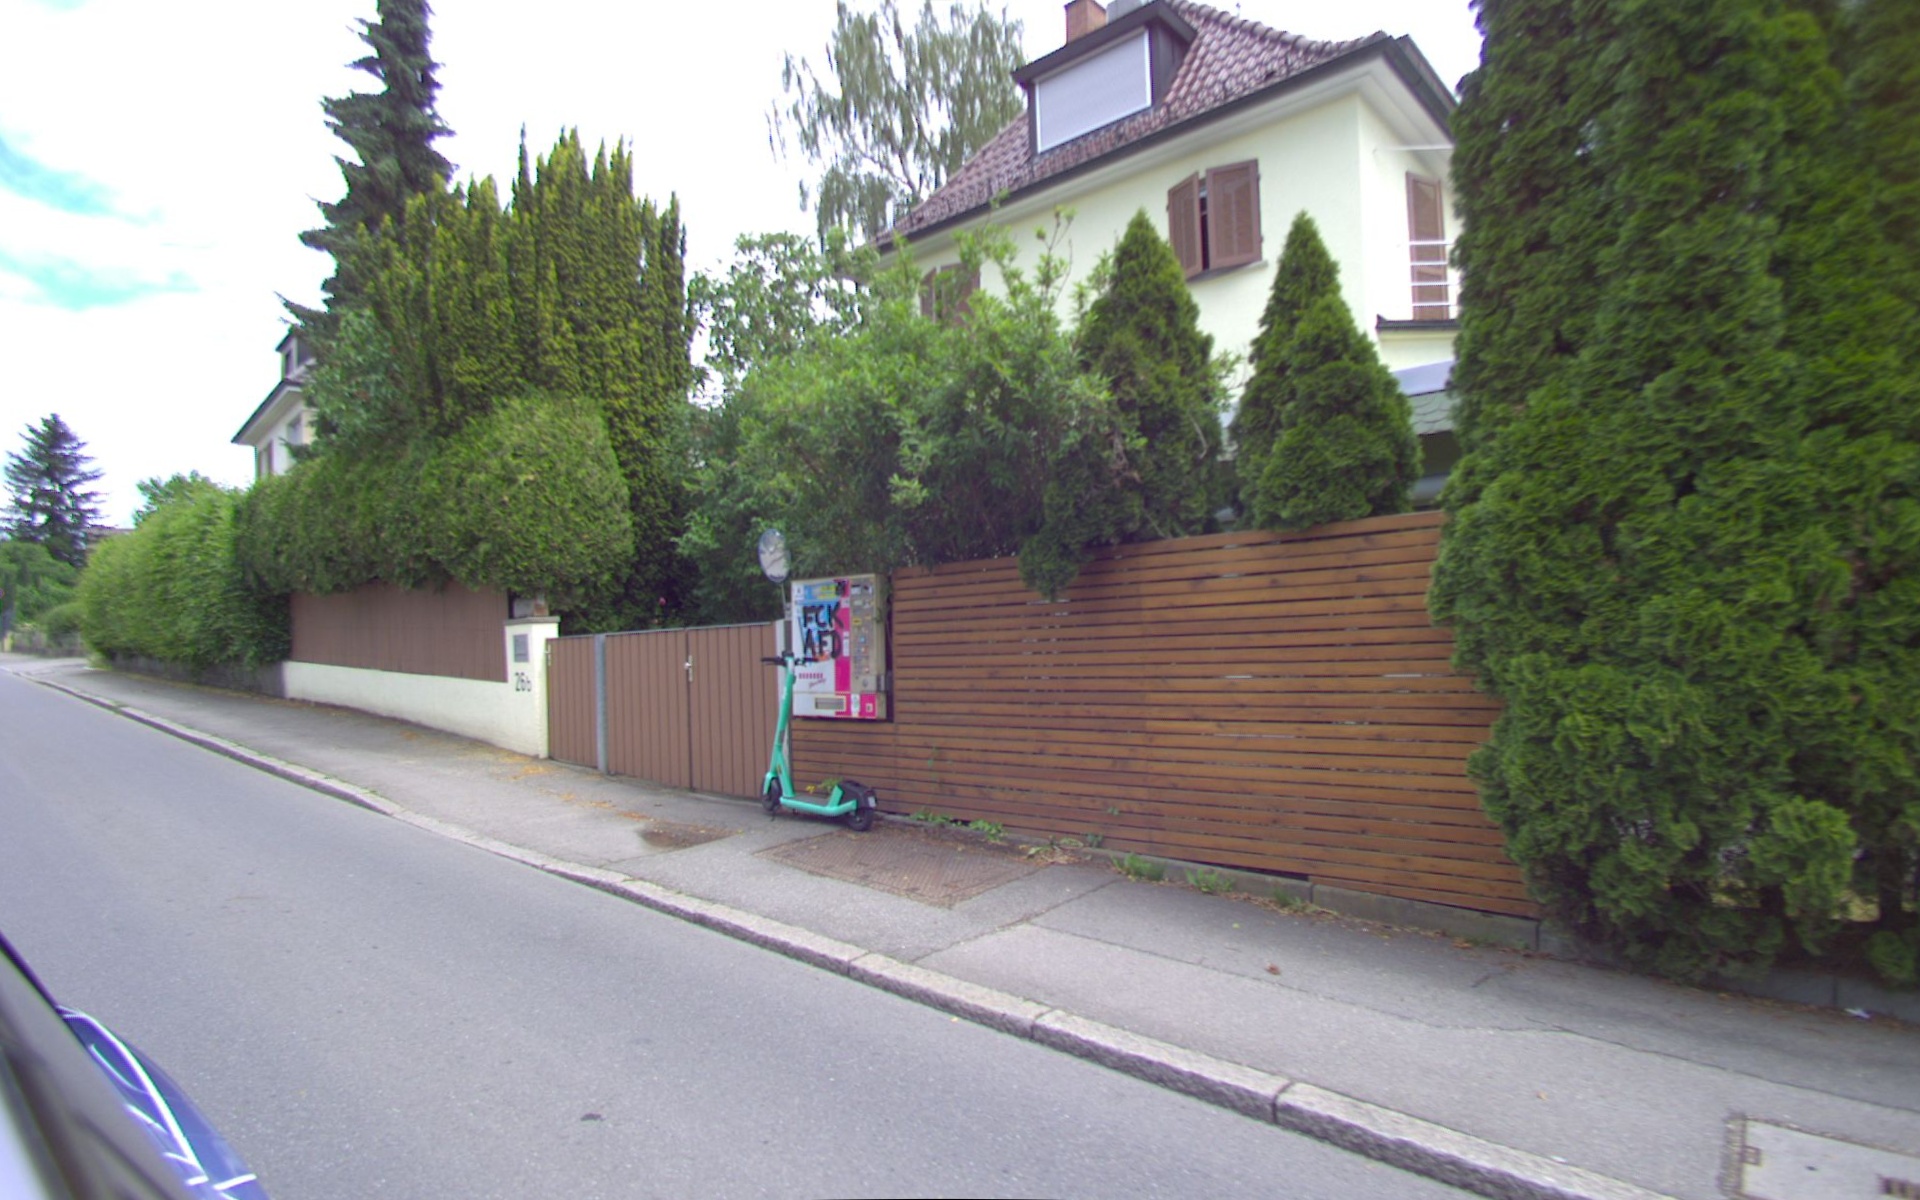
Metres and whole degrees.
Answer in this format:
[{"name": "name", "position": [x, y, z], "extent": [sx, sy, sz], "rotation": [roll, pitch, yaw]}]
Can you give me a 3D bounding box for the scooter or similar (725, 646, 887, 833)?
[{"name": "scooter or similar", "position": [-1.100, 0.925, 7.096], "extent": [1.270, 1.180, 0.387], "rotation": [-2, -1, 42]}]
